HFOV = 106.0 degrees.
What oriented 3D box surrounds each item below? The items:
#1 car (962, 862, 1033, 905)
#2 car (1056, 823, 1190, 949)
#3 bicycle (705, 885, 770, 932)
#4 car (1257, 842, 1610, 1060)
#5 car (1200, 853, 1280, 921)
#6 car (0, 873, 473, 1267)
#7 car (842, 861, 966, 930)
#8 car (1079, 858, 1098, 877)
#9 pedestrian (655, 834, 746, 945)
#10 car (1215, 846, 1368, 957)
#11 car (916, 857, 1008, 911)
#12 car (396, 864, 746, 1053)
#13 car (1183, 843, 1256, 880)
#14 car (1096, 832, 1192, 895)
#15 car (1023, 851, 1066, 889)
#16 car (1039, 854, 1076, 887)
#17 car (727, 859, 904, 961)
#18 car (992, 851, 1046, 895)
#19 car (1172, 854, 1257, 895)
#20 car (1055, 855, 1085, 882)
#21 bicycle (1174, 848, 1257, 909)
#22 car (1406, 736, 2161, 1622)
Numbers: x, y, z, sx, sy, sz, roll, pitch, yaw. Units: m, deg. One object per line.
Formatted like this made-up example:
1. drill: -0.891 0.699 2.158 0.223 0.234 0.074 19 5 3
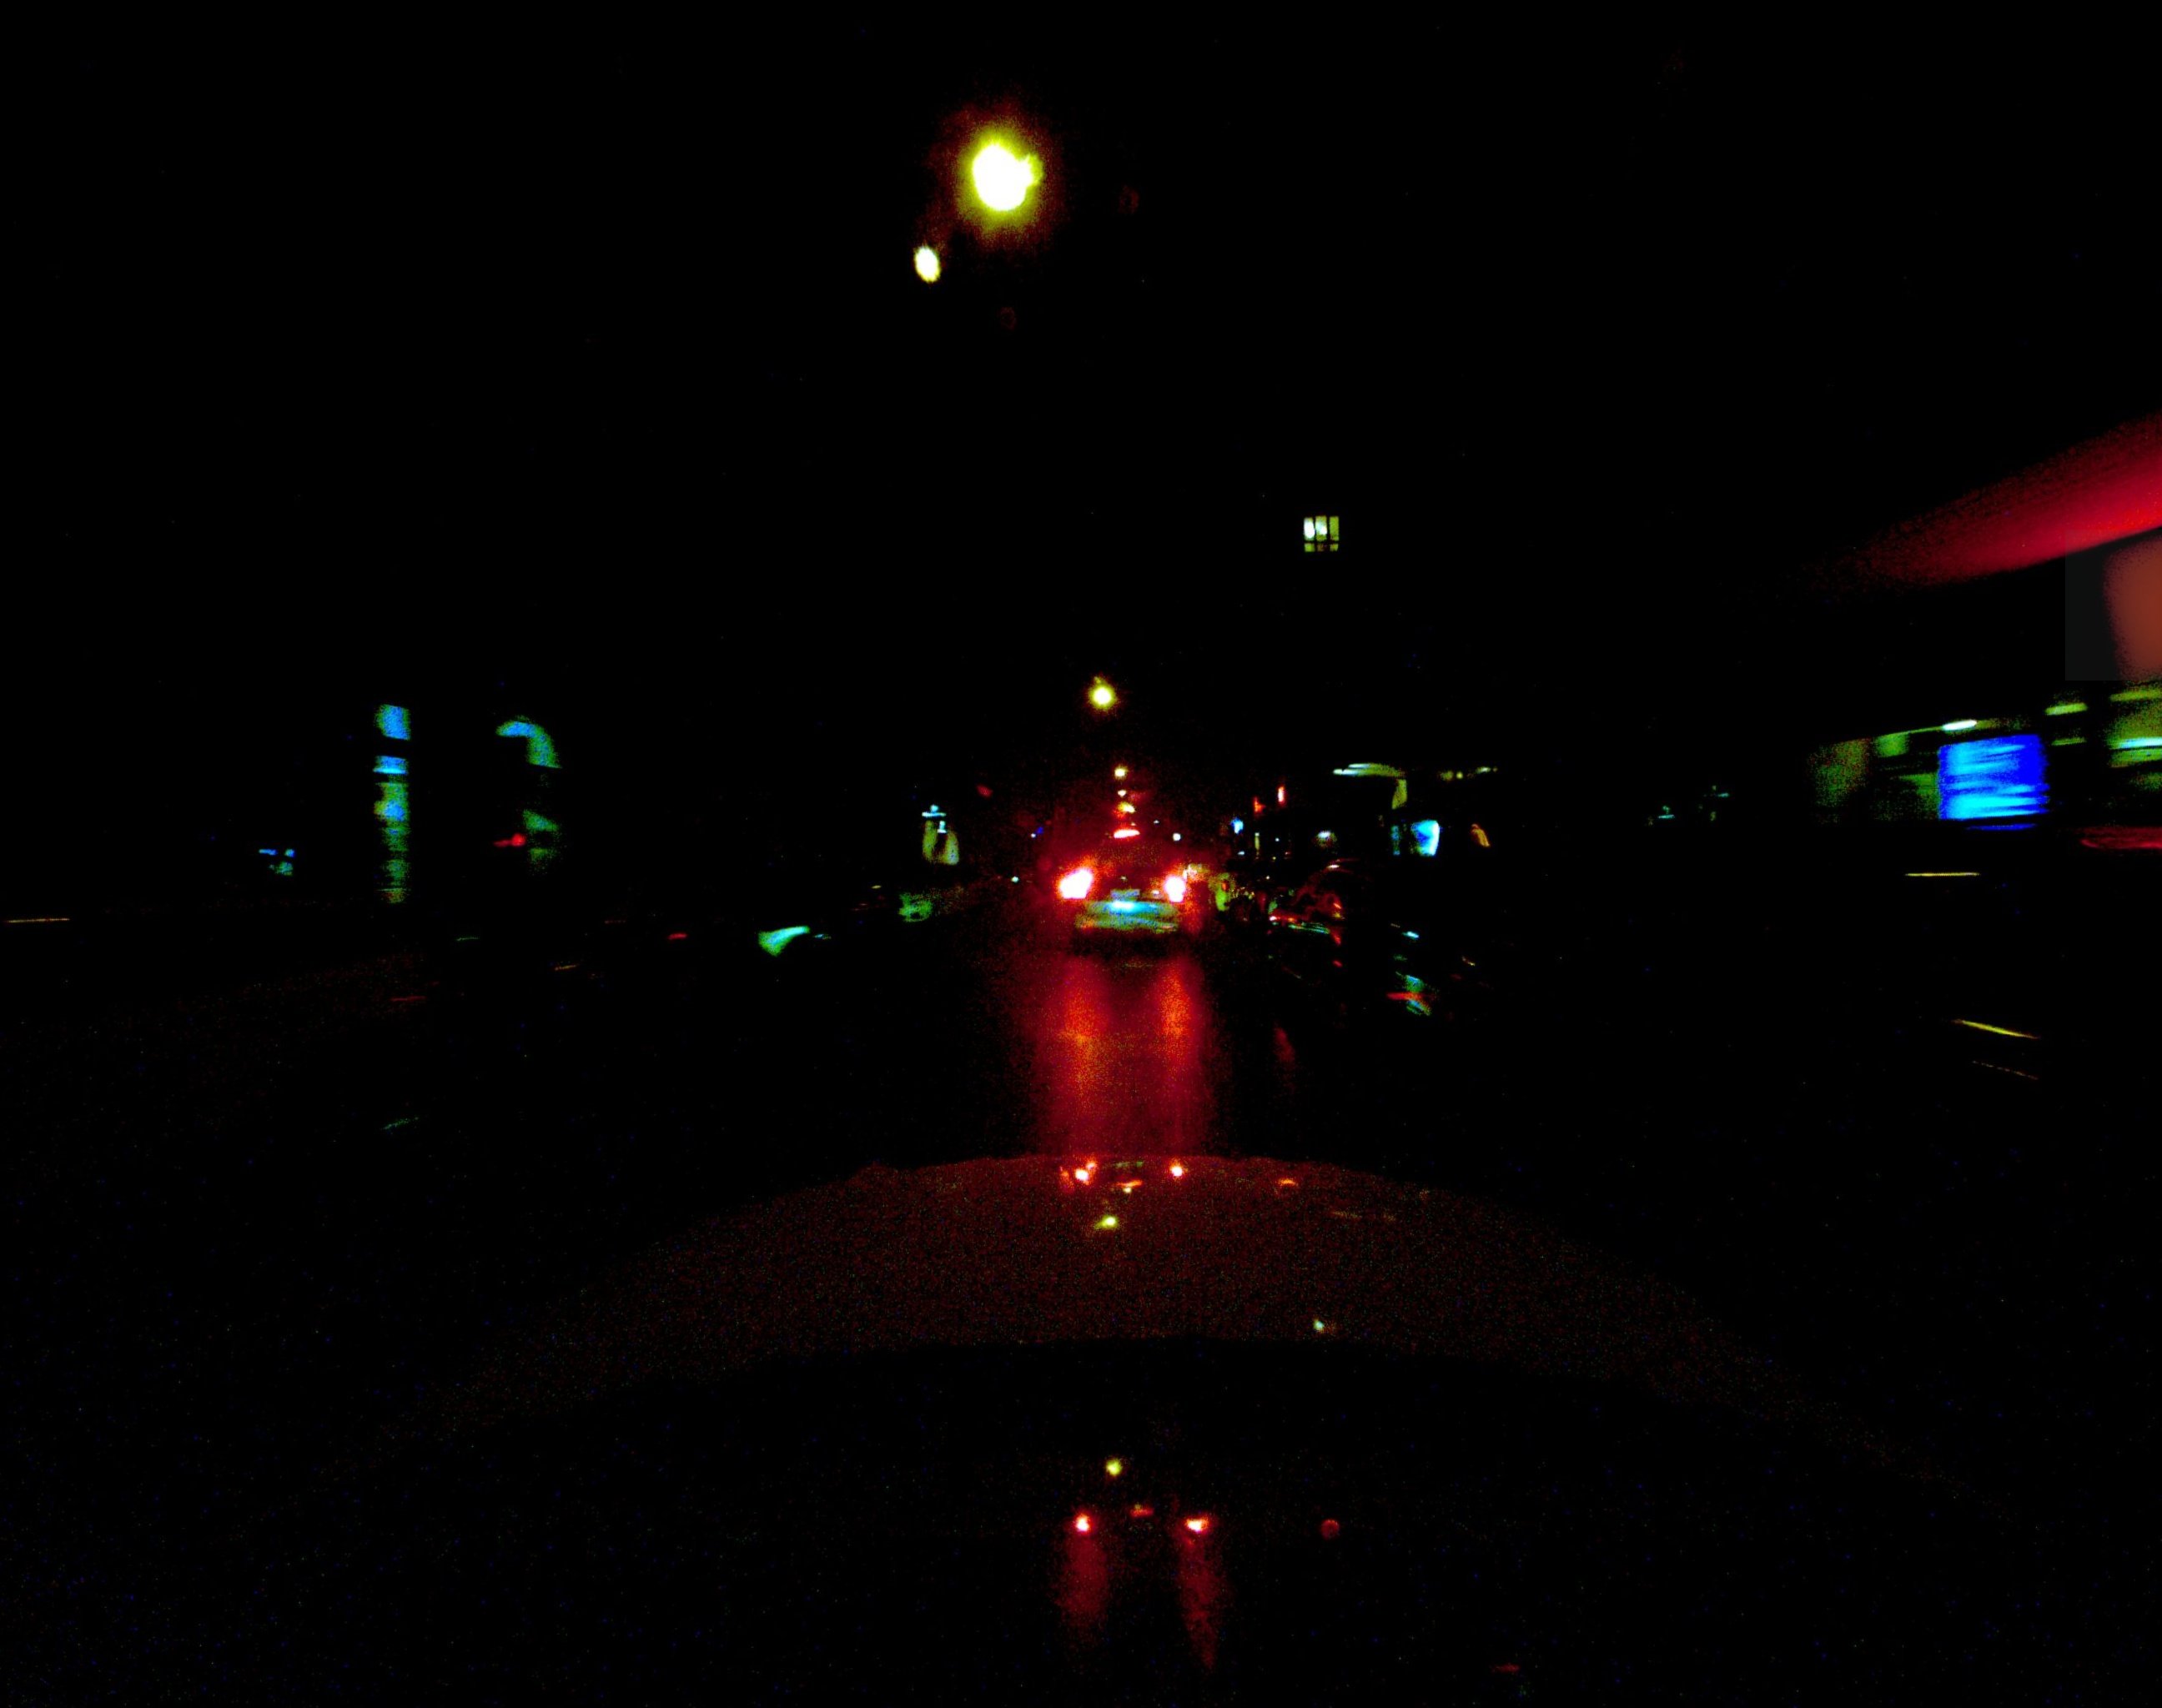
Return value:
1. car: -2.977 1.034 29.815 1.985 1.449 4.003 1 -1 3
2. car: 0.778 0.526 15.241 2.114 1.991 4.604 0 0 3
3. bicycle: -7.613 1.188 18.150 0.447 0.958 2.016 -2 -2 4
4. car: 2.984 0.726 8.011 1.746 1.538 4.401 0 -1 3
5. car: 3.868 0.786 20.281 1.584 1.543 3.424 0 -1 4
6. car: -5.077 0.893 3.542 1.579 1.463 4.029 2 0 4
7. car: -4.021 0.891 19.225 1.682 1.400 4.322 0 0 4
8. car: 0.813 1.449 87.703 1.742 2.014 4.003 1 -1 3
9. pedestrian: -6.674 0.609 14.340 1.025 1.865 0.980 1 -1 9
10. car: 3.386 0.726 13.844 1.746 1.608 3.992 0 -1 3
11. car: -3.534 0.840 25.063 1.745 1.449 4.629 1 0 5
12. car: -4.764 0.868 8.071 1.579 1.510 2.790 0 0 4
13. car: 7.942 0.418 46.949 3.969 2.014 2.002 -2 -1 4
14. car: 2.245 0.289 27.561 2.105 1.922 4.849 0 0 19
15. car: -2.028 0.899 46.411 1.985 2.014 4.003 1 -1 3
16. car: -1.442 1.049 52.135 1.985 2.014 4.004 1 -1 3
17. car: -4.233 0.828 13.565 1.579 1.449 3.507 0 0 4
18. car: -2.763 0.851 37.322 1.986 1.862 4.096 1 -1 2
19. car: 7.045 1.098 43.139 3.991 2.014 1.991 -1 -2 -13
20. car: -0.807 1.124 63.536 1.985 2.014 4.003 1 -1 3
21. bicycle: 4.013 0.739 24.480 2.309 1.639 0.889 -5 -2 4
22. car: 2.868 0.610 3.147 1.746 1.566 4.157 0 -1 3
